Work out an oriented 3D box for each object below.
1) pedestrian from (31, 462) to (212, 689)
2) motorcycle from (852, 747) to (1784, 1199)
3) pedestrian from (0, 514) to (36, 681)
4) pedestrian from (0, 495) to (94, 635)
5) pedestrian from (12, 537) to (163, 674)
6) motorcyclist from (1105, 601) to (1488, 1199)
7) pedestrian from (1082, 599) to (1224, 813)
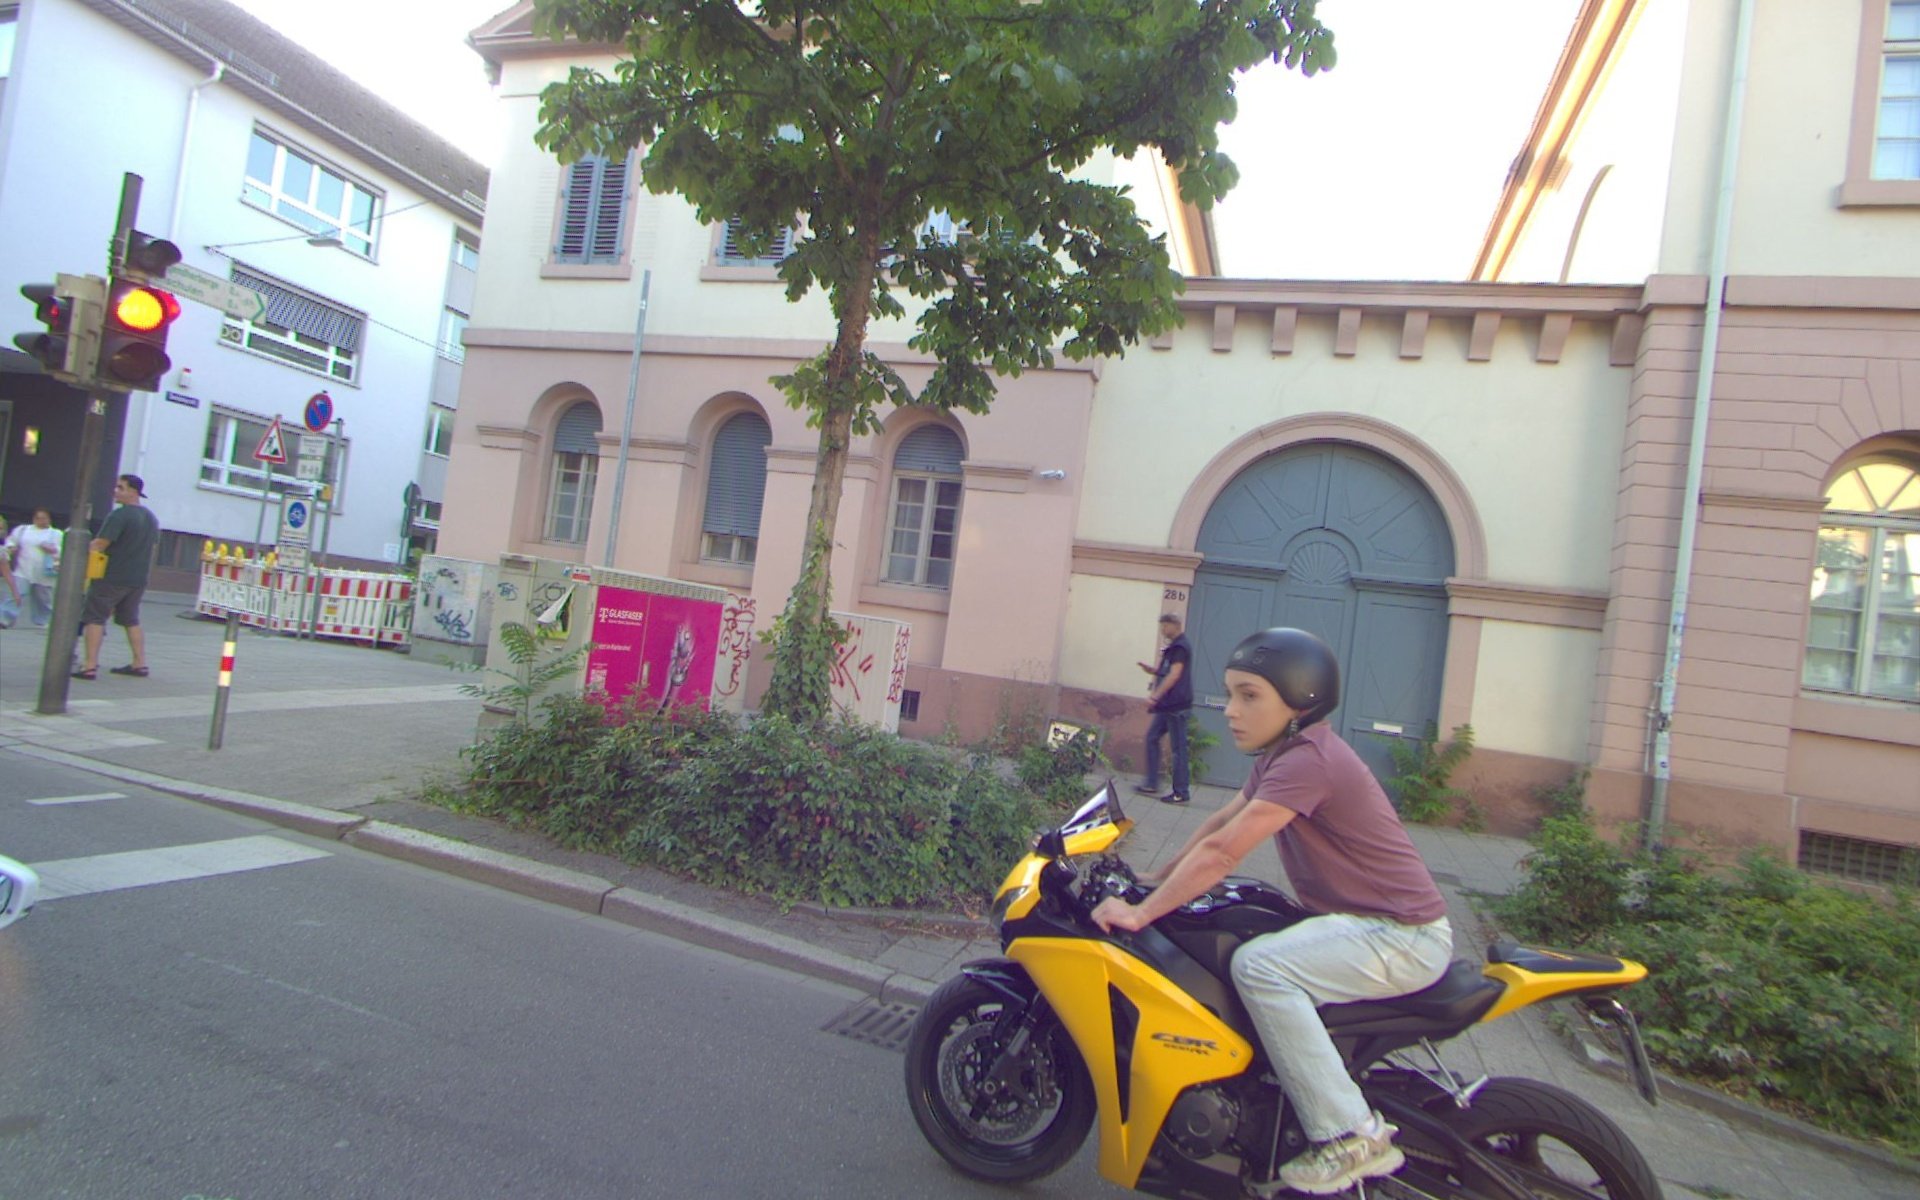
[{"bbox_3d":[-7.473,-0.213,9.026,0.880,1.837,0.788,9,1,-26],"label":"pedestrian"},{"bbox_3d":[0.820,1.153,2.719,1.929,1.173,0.795,7,-3,16],"label":"motorcycle"},{"bbox_3d":[-8.141,-0.052,8.352,0.534,1.351,0.504,7,-2,42],"label":"pedestrian"},{"bbox_3d":[-10.857,-0.408,11.849,0.769,1.519,0.795,7,0,-33],"label":"pedestrian"},{"bbox_3d":[-8.099,0.059,9.356,0.821,1.134,0.567,8,0,9],"label":"pedestrian"},{"bbox_3d":[0.874,0.795,2.726,0.686,1.435,0.795,7,-3,16],"label":"motorcyclist"},{"bbox_3d":[1.908,0.998,9.851,1.062,1.862,0.801,8,1,17],"label":"pedestrian"}]
